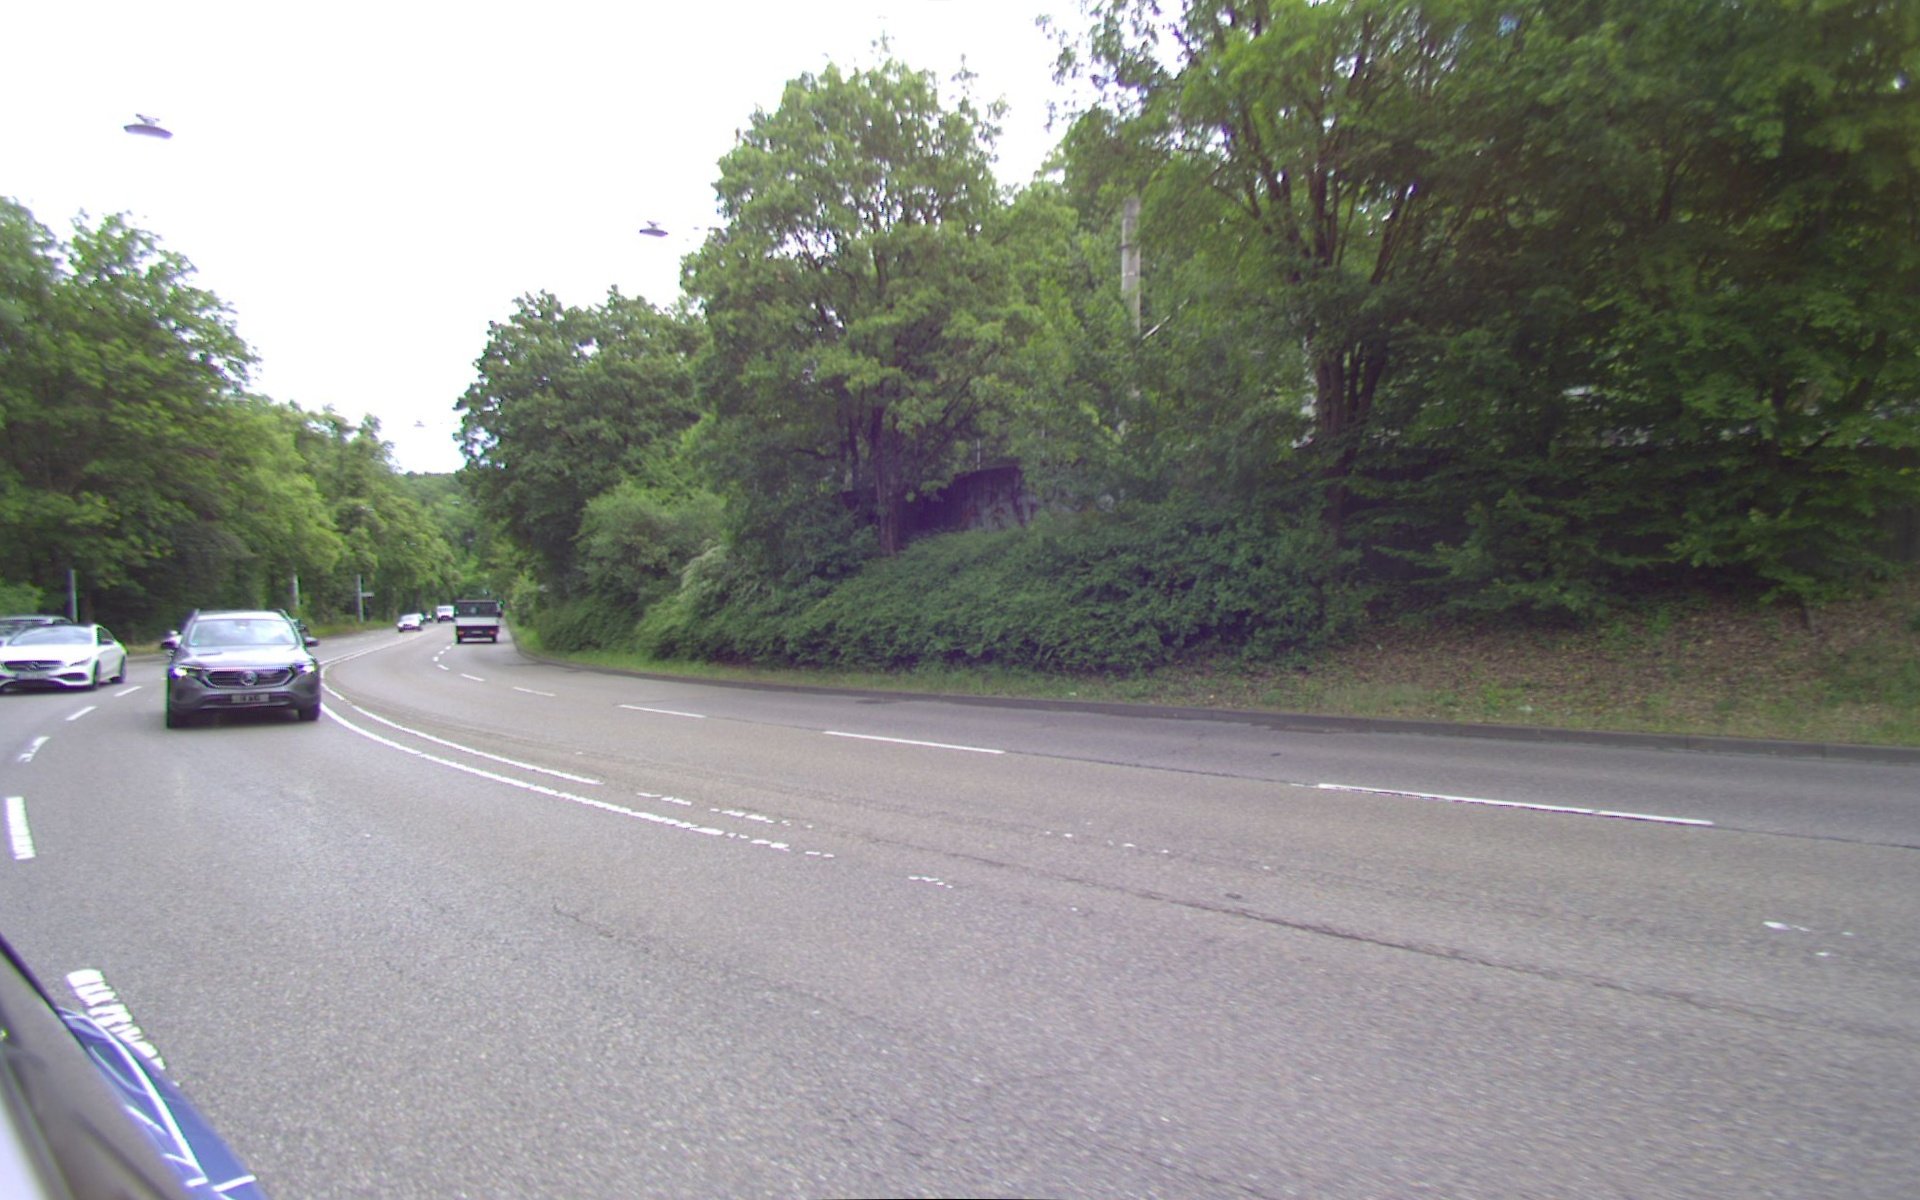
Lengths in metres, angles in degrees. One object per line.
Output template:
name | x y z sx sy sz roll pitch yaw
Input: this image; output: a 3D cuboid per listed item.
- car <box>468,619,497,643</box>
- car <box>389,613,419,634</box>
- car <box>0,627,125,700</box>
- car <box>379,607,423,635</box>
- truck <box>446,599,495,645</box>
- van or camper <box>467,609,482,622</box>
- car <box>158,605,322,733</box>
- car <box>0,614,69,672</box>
car | -36.635 2.356 77.730 1.830 1.707 4.450 2 -2 -23
car | -46.952 1.962 85.435 1.671 1.594 4.009 -4 1 -36
car | -19.505 1.300 21.798 1.866 1.306 4.339 -1 0 -33
car | -47.671 1.827 86.266 3.998 2.028 1.973 -6 -1 41
truck | -26.813 1.222 55.575 2.130 2.389 6.700 1 -1 -24
van or camper | -82.956 2.592 173.051 1.965 2.028 5.386 6 -3 -24
car | -11.116 0.935 15.586 1.842 1.675 4.201 0 0 -37
car | -27.364 1.240 29.008 1.778 1.536 4.013 -3 1 -27
